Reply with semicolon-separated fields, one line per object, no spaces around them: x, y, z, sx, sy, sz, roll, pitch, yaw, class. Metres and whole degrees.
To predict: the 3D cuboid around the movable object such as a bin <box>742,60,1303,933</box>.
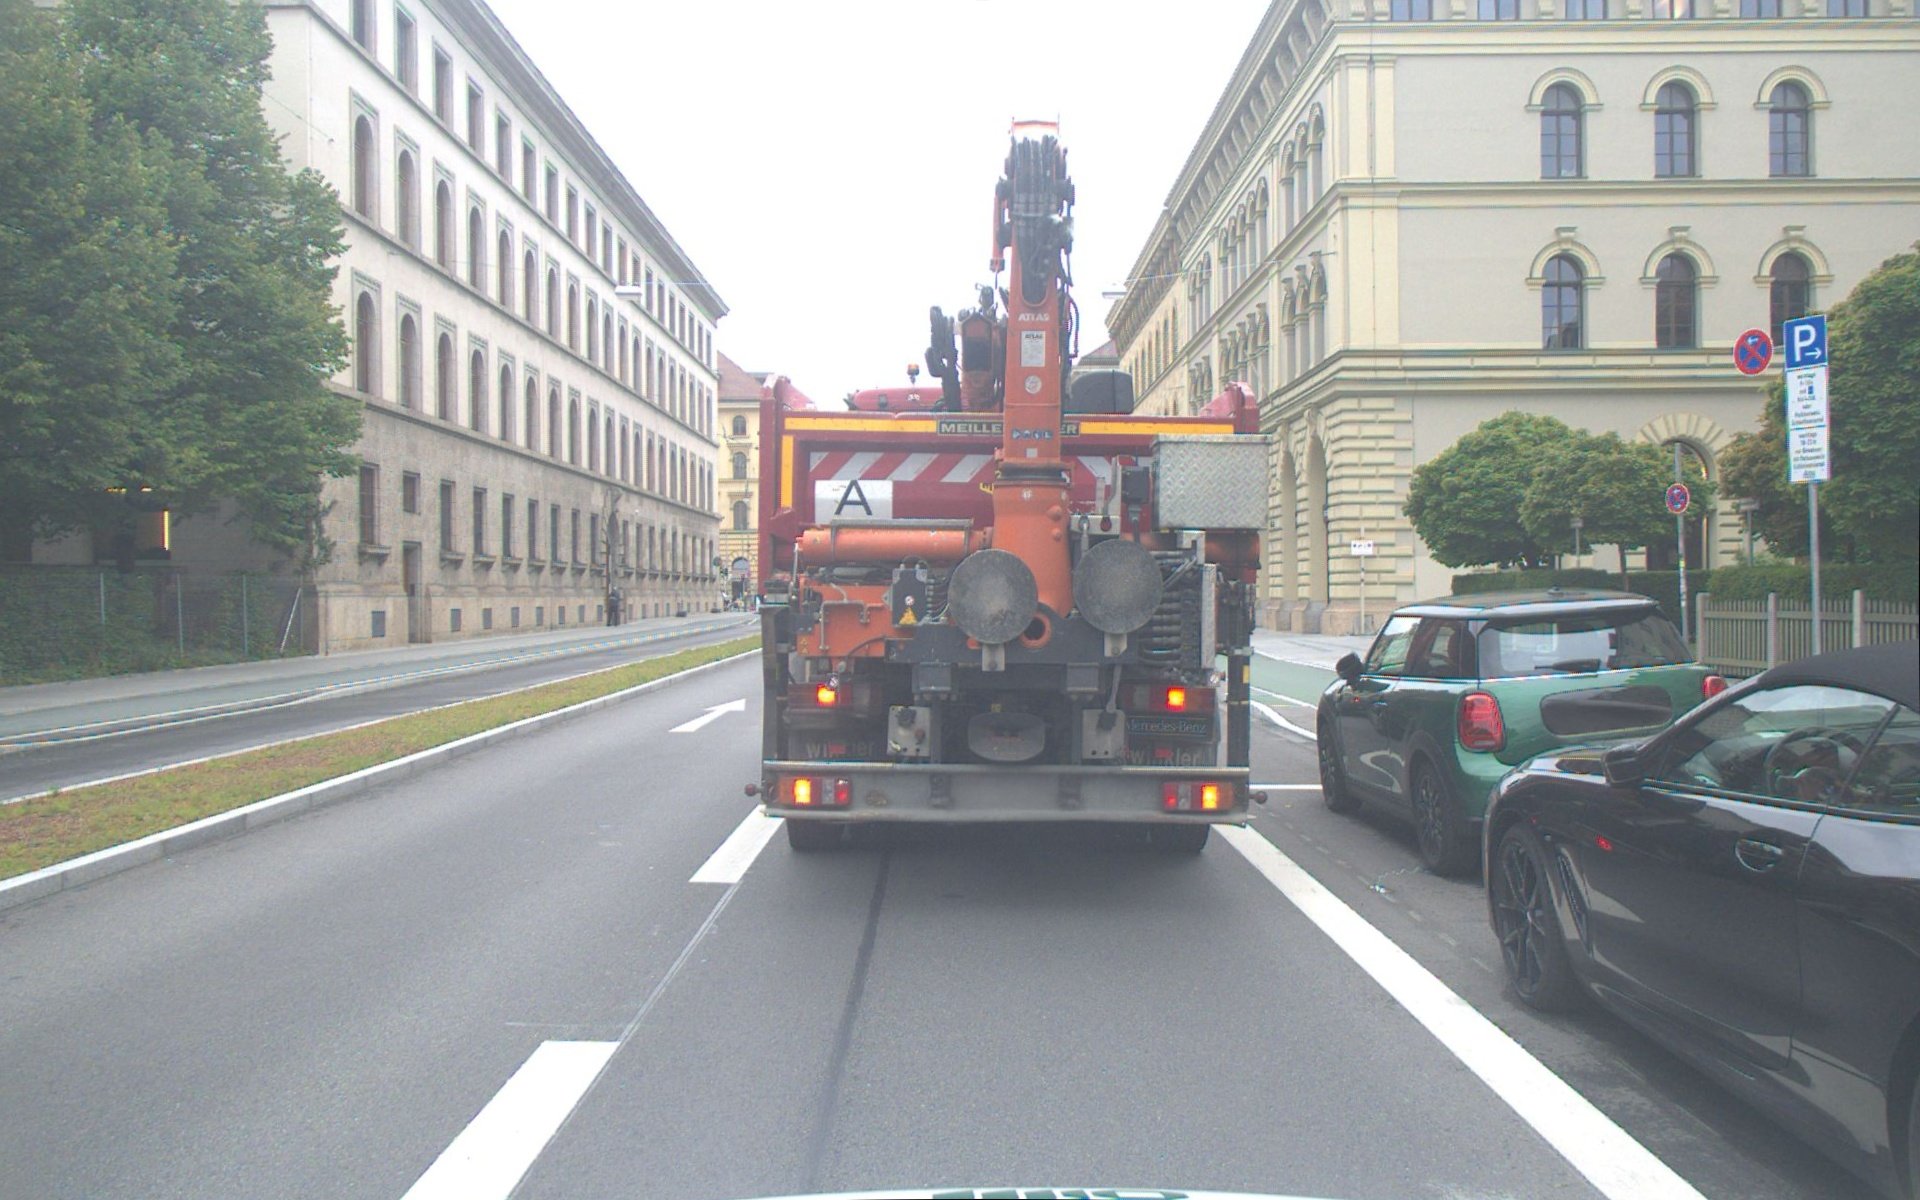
0.212;-0.459;9.921;2.374;3.674;5.850;0;0;-1;movable object such as a bin

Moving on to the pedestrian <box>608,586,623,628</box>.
-15.383;0.321;73.850;0.577;1.863;0.498;0;0;-2;pedestrian

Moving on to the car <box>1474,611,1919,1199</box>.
2.861;0.773;4.311;1.646;1.410;4.426;0;0;0;car

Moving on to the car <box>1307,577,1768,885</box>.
3.271;0.645;10.042;1.577;1.521;3.424;-1;0;0;car

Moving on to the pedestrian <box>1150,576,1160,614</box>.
9.704;-0.232;82.329;0.436;1.868;0.556;-1;0;1;pedestrian
